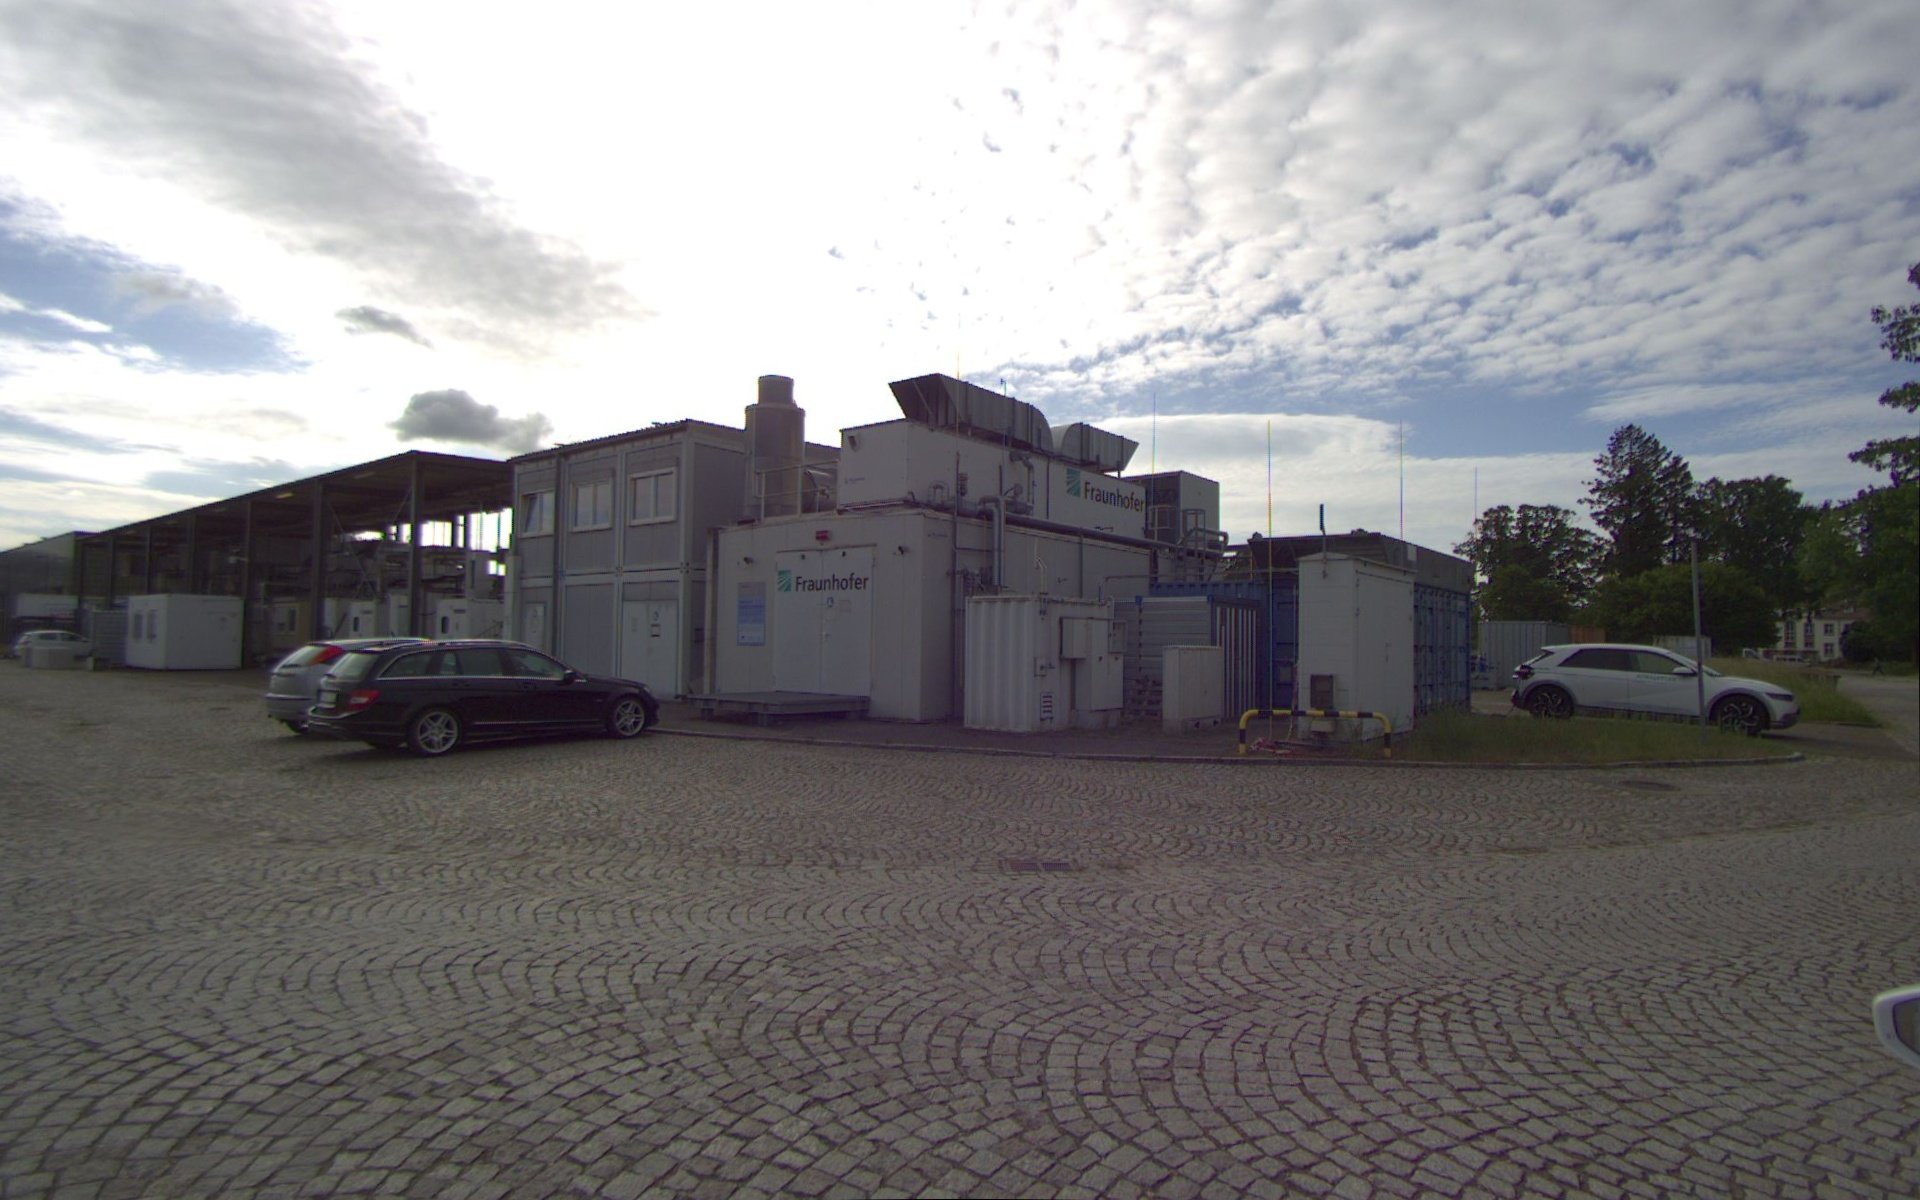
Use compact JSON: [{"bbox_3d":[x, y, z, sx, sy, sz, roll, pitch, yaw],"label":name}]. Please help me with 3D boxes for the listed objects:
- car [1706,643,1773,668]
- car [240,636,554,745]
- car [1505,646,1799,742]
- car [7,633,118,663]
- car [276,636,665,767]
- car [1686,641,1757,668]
[{"bbox_3d":[76.403,5.451,98.515,5.109,2.368,1.991,-1,-3,39],"label":"car"},{"bbox_3d":[-8.936,1.347,16.242,1.882,1.495,4.031,-1,-2,37],"label":"car"},{"bbox_3d":[13.327,1.722,19.510,4.484,1.620,1.990,-2,-4,42],"label":"car"},{"bbox_3d":[-46.302,2.486,51.877,1.969,1.511,3.985,-1,-4,37],"label":"car"},{"bbox_3d":[-6.653,1.272,14.104,2.012,1.472,4.510,-1,-2,39],"label":"car"},{"bbox_3d":[69.580,4.963,91.828,5.109,2.368,1.991,-1,-3,39],"label":"car"}]
